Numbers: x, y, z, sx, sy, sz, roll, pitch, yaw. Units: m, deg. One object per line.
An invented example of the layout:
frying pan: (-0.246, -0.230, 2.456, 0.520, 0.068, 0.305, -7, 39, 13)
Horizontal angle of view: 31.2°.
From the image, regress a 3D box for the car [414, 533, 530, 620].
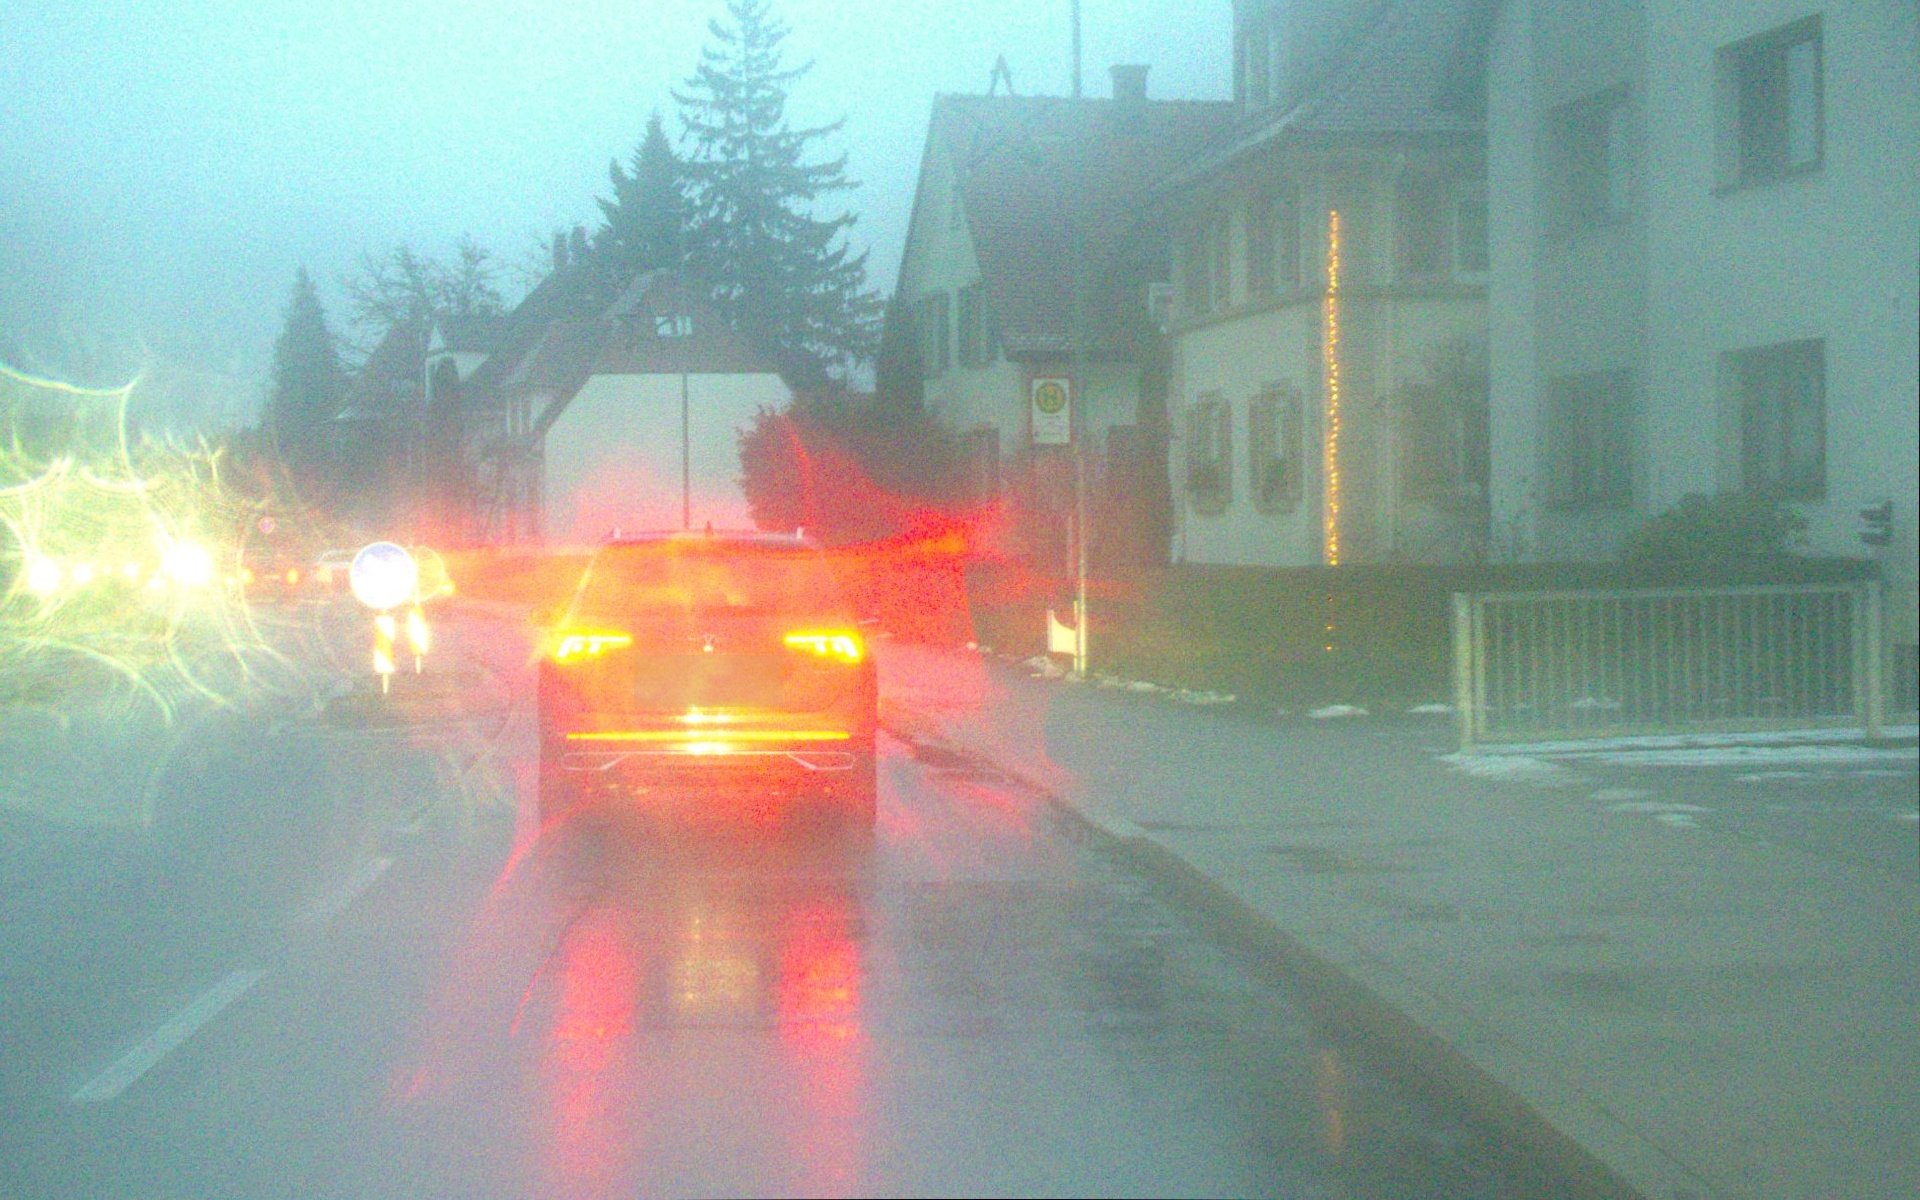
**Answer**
car: (-11.311, -0.543, 79.411, 2.309, 1.932, 5.019, -1, 0, -12)

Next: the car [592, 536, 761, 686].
car: (-3.349, 0.083, 40.155, 1.857, 1.641, 4.001, 0, 1, -6)

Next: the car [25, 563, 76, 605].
car: (-35.857, -0.651, 135.448, 1.823, 1.548, 4.001, -2, 1, -16)

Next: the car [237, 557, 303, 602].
car: (-21.192, -0.650, 105.510, 1.842, 1.327, 3.939, -1, 1, -13)

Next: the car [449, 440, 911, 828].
car: (-1.562, 0.153, 19.923, 2.309, 1.932, 5.019, -1, 0, -3)

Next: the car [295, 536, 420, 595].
car: (-21.414, -1.219, 122.170, 4.245, 2.007, 1.811, -1, 1, -14)
